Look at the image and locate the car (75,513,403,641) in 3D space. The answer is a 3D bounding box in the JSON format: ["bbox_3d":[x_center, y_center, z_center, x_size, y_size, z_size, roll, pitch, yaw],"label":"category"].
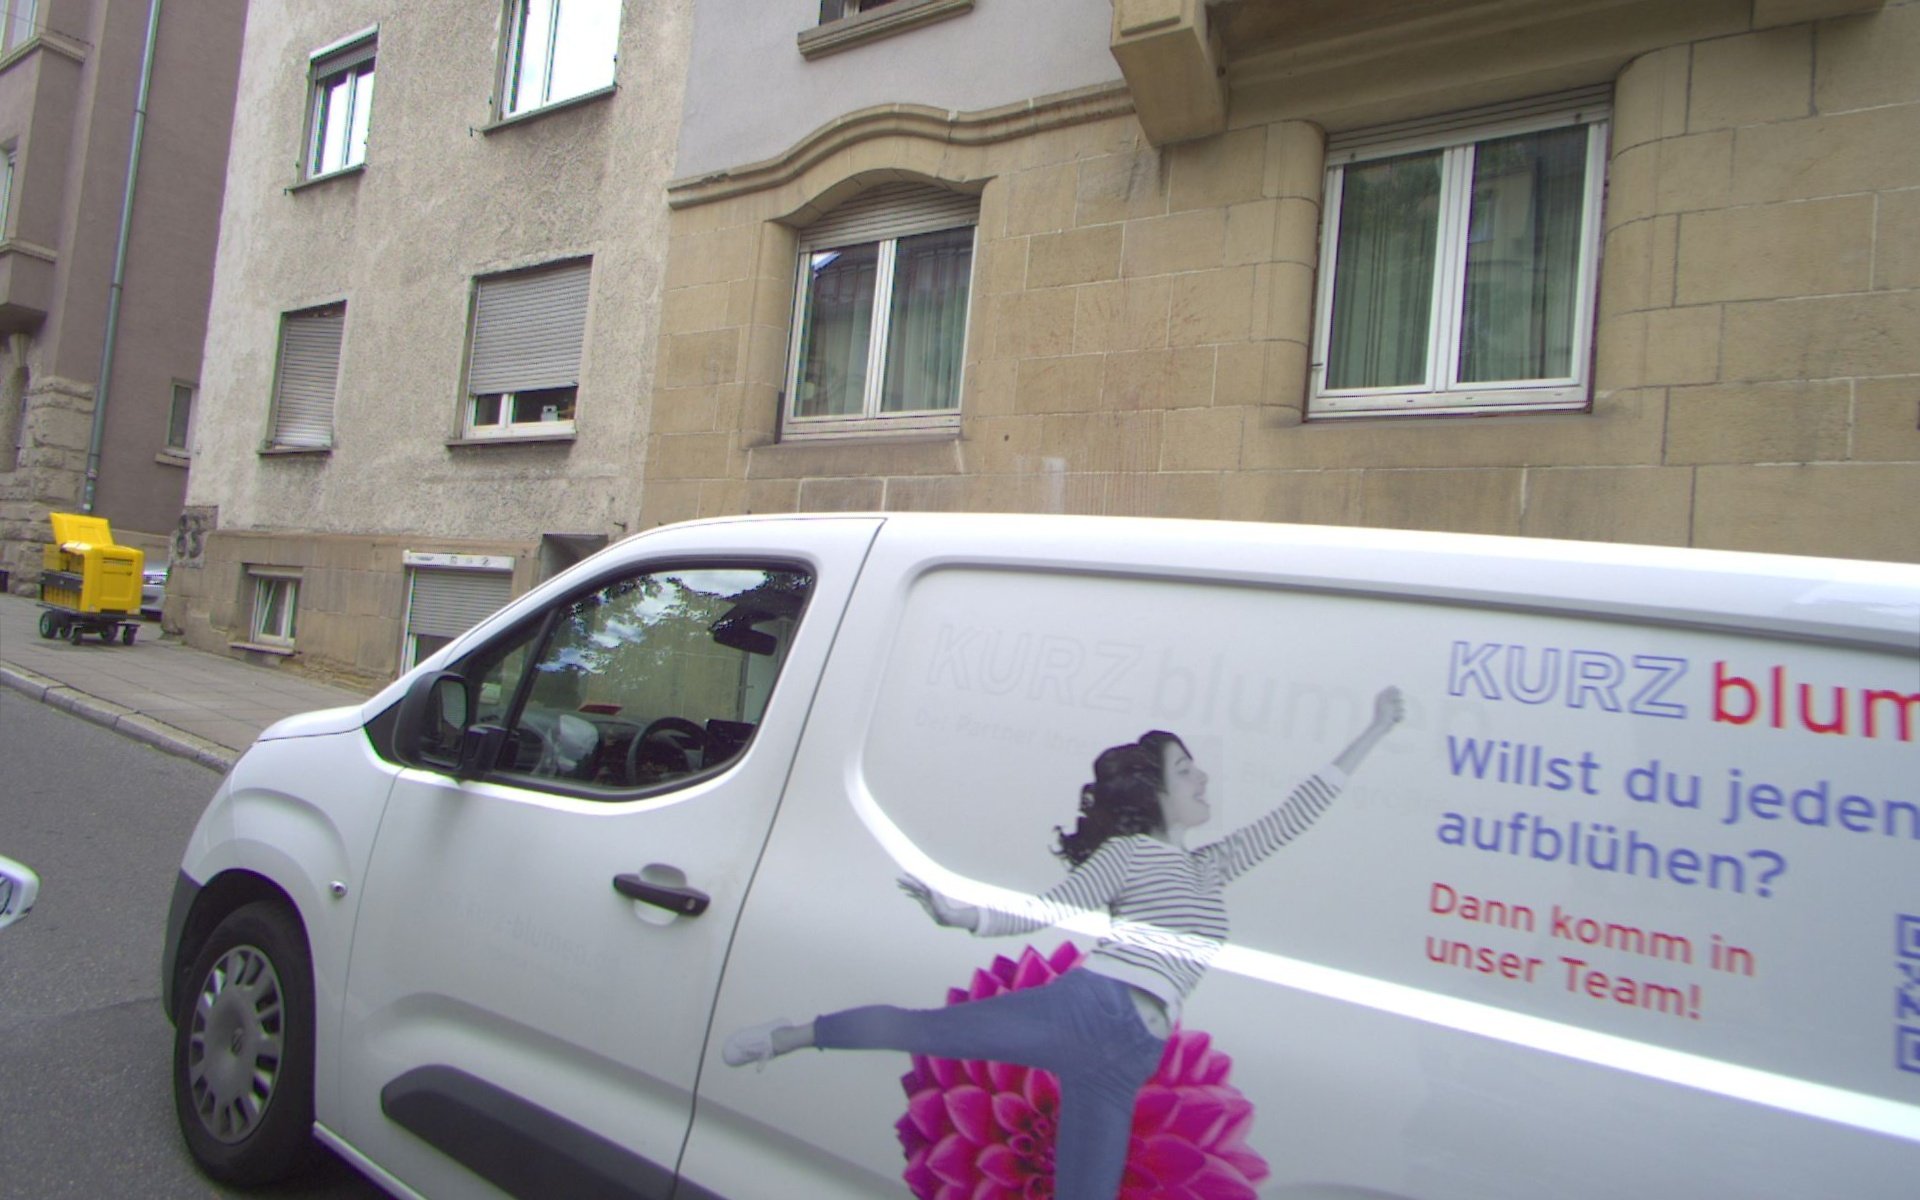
[{"bbox_3d":[-11.918,-0.311,16.912,1.770,1.419,3.996,10,-1,31],"label":"car"}]

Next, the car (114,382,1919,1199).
[{"bbox_3d":[0.214,0.764,2.257,4.942,1.845,1.852,5,-4,35],"label":"car"}]

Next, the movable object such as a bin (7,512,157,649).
[{"bbox_3d":[-10.483,-0.235,12.002,1.664,1.438,0.720,6,-1,29],"label":"movable object such as a bin"}]
